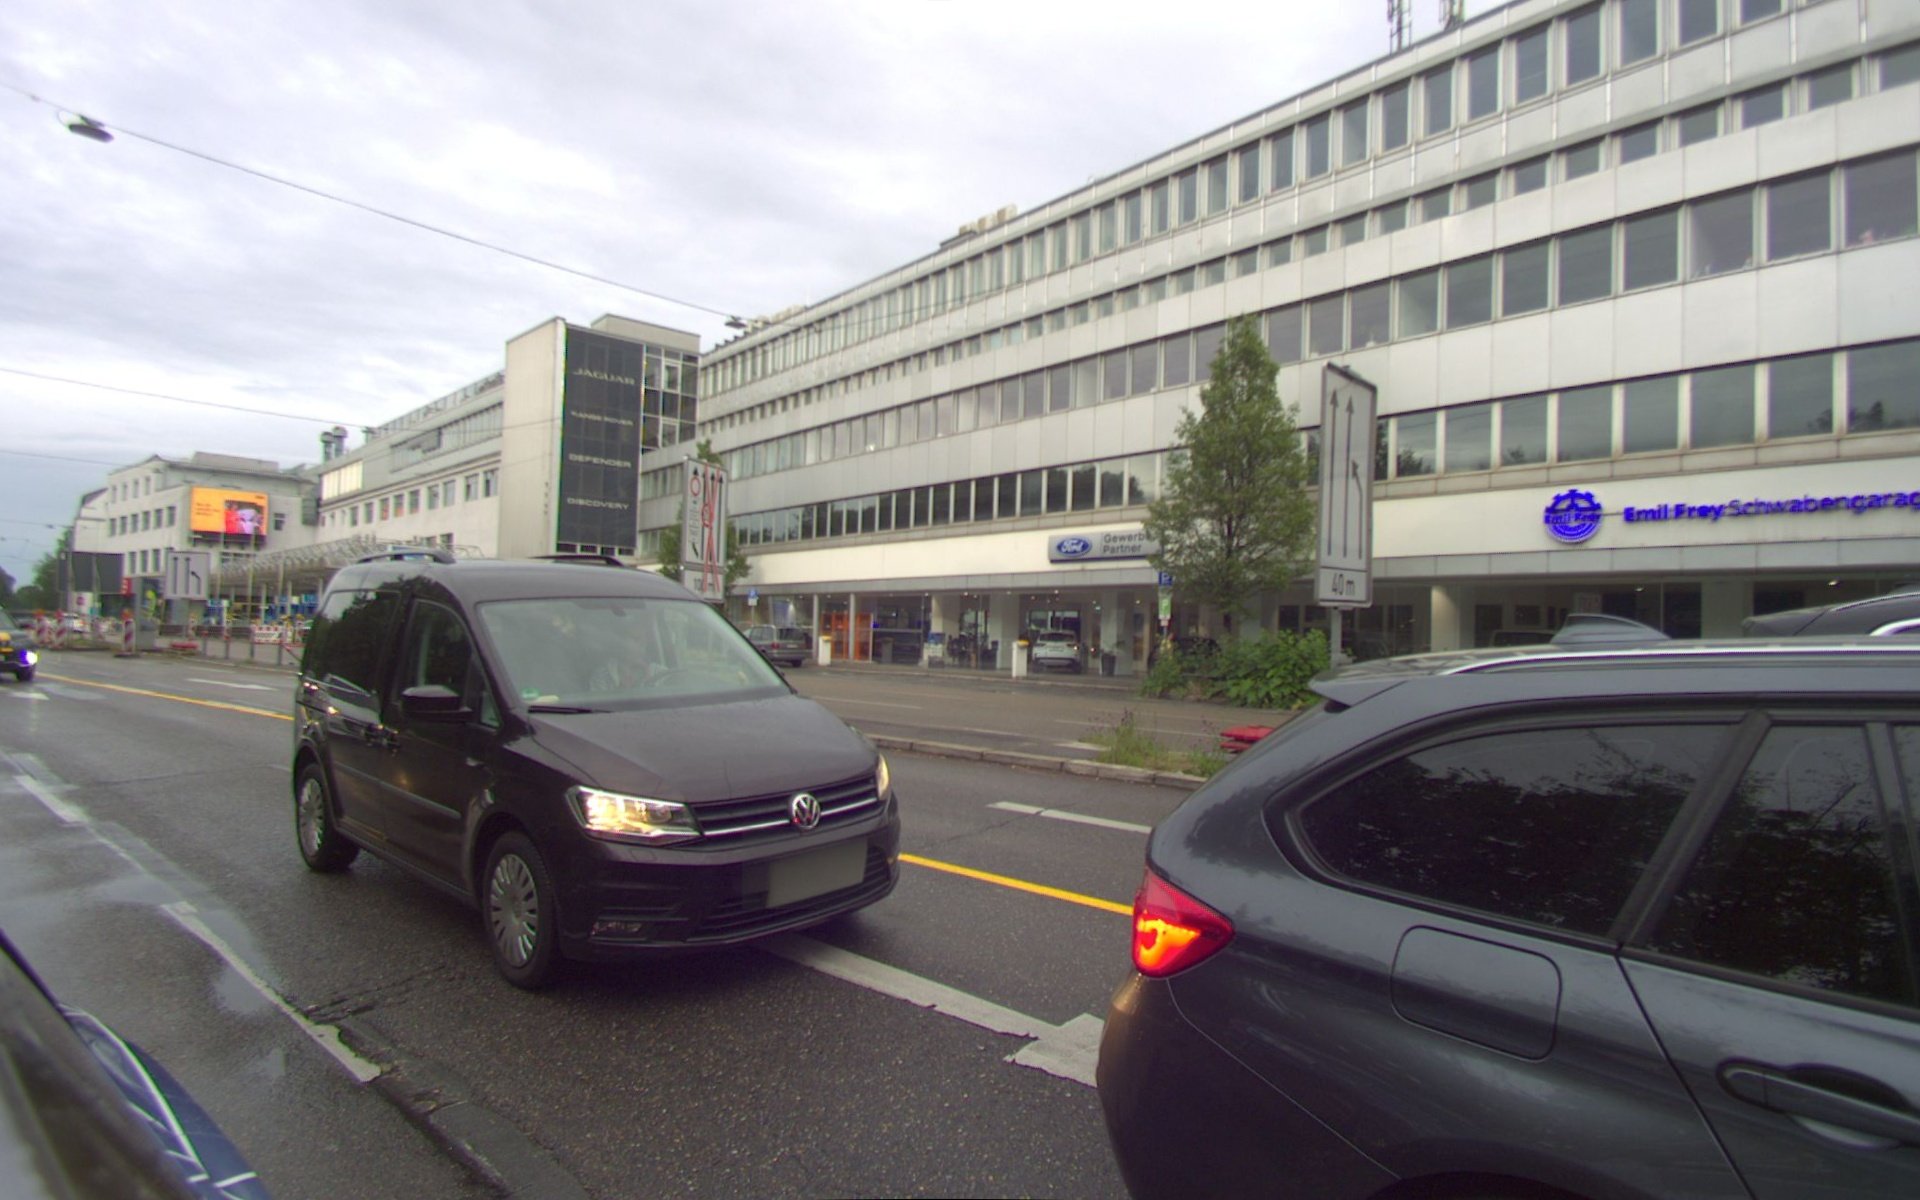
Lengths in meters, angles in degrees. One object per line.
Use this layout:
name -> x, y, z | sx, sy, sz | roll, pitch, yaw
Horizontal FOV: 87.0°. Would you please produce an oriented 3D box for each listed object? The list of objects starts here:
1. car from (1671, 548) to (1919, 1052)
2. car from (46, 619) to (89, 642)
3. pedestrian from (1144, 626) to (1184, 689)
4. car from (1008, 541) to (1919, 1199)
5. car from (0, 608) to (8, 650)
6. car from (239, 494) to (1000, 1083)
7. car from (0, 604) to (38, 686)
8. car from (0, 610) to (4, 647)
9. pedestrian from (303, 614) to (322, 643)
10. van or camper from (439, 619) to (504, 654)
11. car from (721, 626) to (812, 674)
car -> 4.901, 0.638, 2.926 | 4.445, 1.668, 1.789 | -1, 0, 44
car -> -66.295, 2.258, 75.155 | 3.761, 1.544, 1.783 | -2, -6, 40
pedestrian -> 6.065, 1.684, 30.061 | 0.750, 1.788, 0.865 | -1, 0, -42
car -> 2.335, 0.691, 1.080 | 4.476, 1.469, 1.757 | -1, -3, 42
car -> -39.659, 1.164, 40.674 | 4.333, 1.650, 1.747 | -1, 0, 43
car -> -2.091, 0.596, 5.334 | 4.429, 1.828, 1.880 | -1, 0, 42
car -> -20.798, 0.916, 21.023 | 4.328, 1.611, 1.792 | -1, 0, 39
car -> -44.317, 1.289, 45.452 | 3.948, 1.629, 1.747 | -1, 0, 43
pedestrian -> -42.501, 1.857, 66.417 | 0.882, 1.828, 0.942 | -1, 0, -45
van or camper -> -28.300, 2.088, 58.522 | 1.913, 1.938, 4.687 | 3, -3, -45
car -> -8.325, 2.093, 43.300 | 1.895, 1.829, 4.169 | -1, 0, -44
